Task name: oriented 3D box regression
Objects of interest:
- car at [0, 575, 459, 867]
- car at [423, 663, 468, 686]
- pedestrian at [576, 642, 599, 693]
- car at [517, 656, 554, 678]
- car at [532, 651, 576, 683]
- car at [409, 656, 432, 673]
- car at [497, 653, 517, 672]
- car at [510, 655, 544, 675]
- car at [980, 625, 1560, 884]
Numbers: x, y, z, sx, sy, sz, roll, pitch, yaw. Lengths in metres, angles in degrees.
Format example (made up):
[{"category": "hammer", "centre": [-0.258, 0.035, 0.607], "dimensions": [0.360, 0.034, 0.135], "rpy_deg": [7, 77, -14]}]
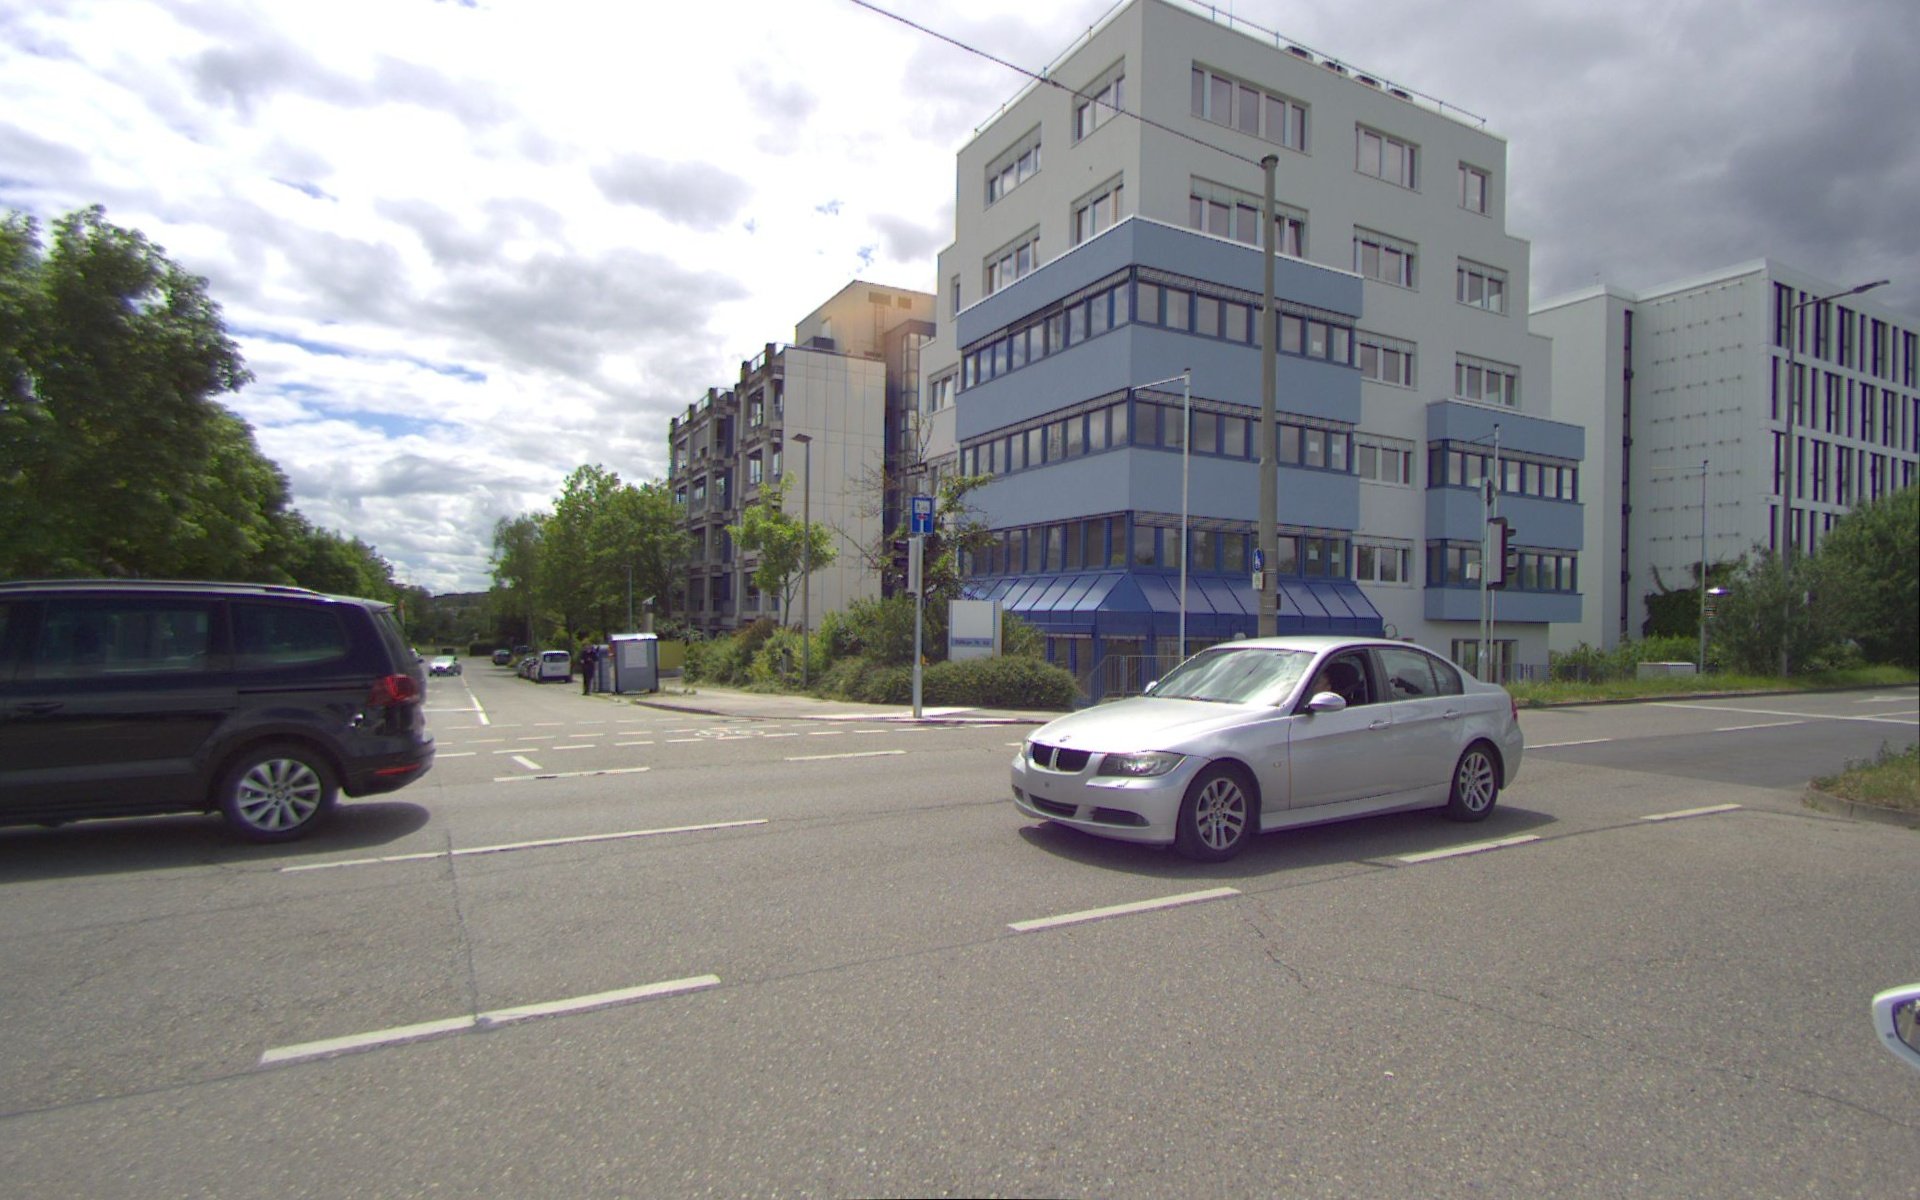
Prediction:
[{"category": "car", "centre": [-6.064, 0.725, 6.833], "dimensions": [4.701, 1.725, 1.986], "rpy_deg": [1, -1, -28]}, {"category": "car", "centre": [-38.714, 5.588, 75.696], "dimensions": [1.964, 1.528, 3.992], "rpy_deg": [1, -1, -10]}, {"category": "pedestrian", "centre": [-12.362, 2.250, 33.348], "dimensions": [0.613, 1.666, 0.745], "rpy_deg": [1, -4, -28]}, {"category": "car", "centre": [-27.918, 4.399, 66.010], "dimensions": [1.974, 1.347, 3.631], "rpy_deg": [1, -4, -27]}, {"category": "car", "centre": [-22.759, 3.768, 56.192], "dimensions": [1.974, 1.714, 3.631], "rpy_deg": [1, -4, -27]}, {"category": "car", "centre": [-54.850, 6.557, 102.169], "dimensions": [1.976, 1.528, 3.970], "rpy_deg": [1, -1, -29]}, {"category": "car", "centre": [-50.870, 6.986, 112.810], "dimensions": [1.973, 2.040, 3.976], "rpy_deg": [1, -3, -25]}, {"category": "car", "centre": [-30.827, 4.633, 71.443], "dimensions": [1.974, 1.347, 3.631], "rpy_deg": [1, -4, -27]}, {"category": "car", "centre": [2.474, 0.961, 7.700], "dimensions": [4.370, 1.467, 1.783], "rpy_deg": [1, -1, -30]}]
